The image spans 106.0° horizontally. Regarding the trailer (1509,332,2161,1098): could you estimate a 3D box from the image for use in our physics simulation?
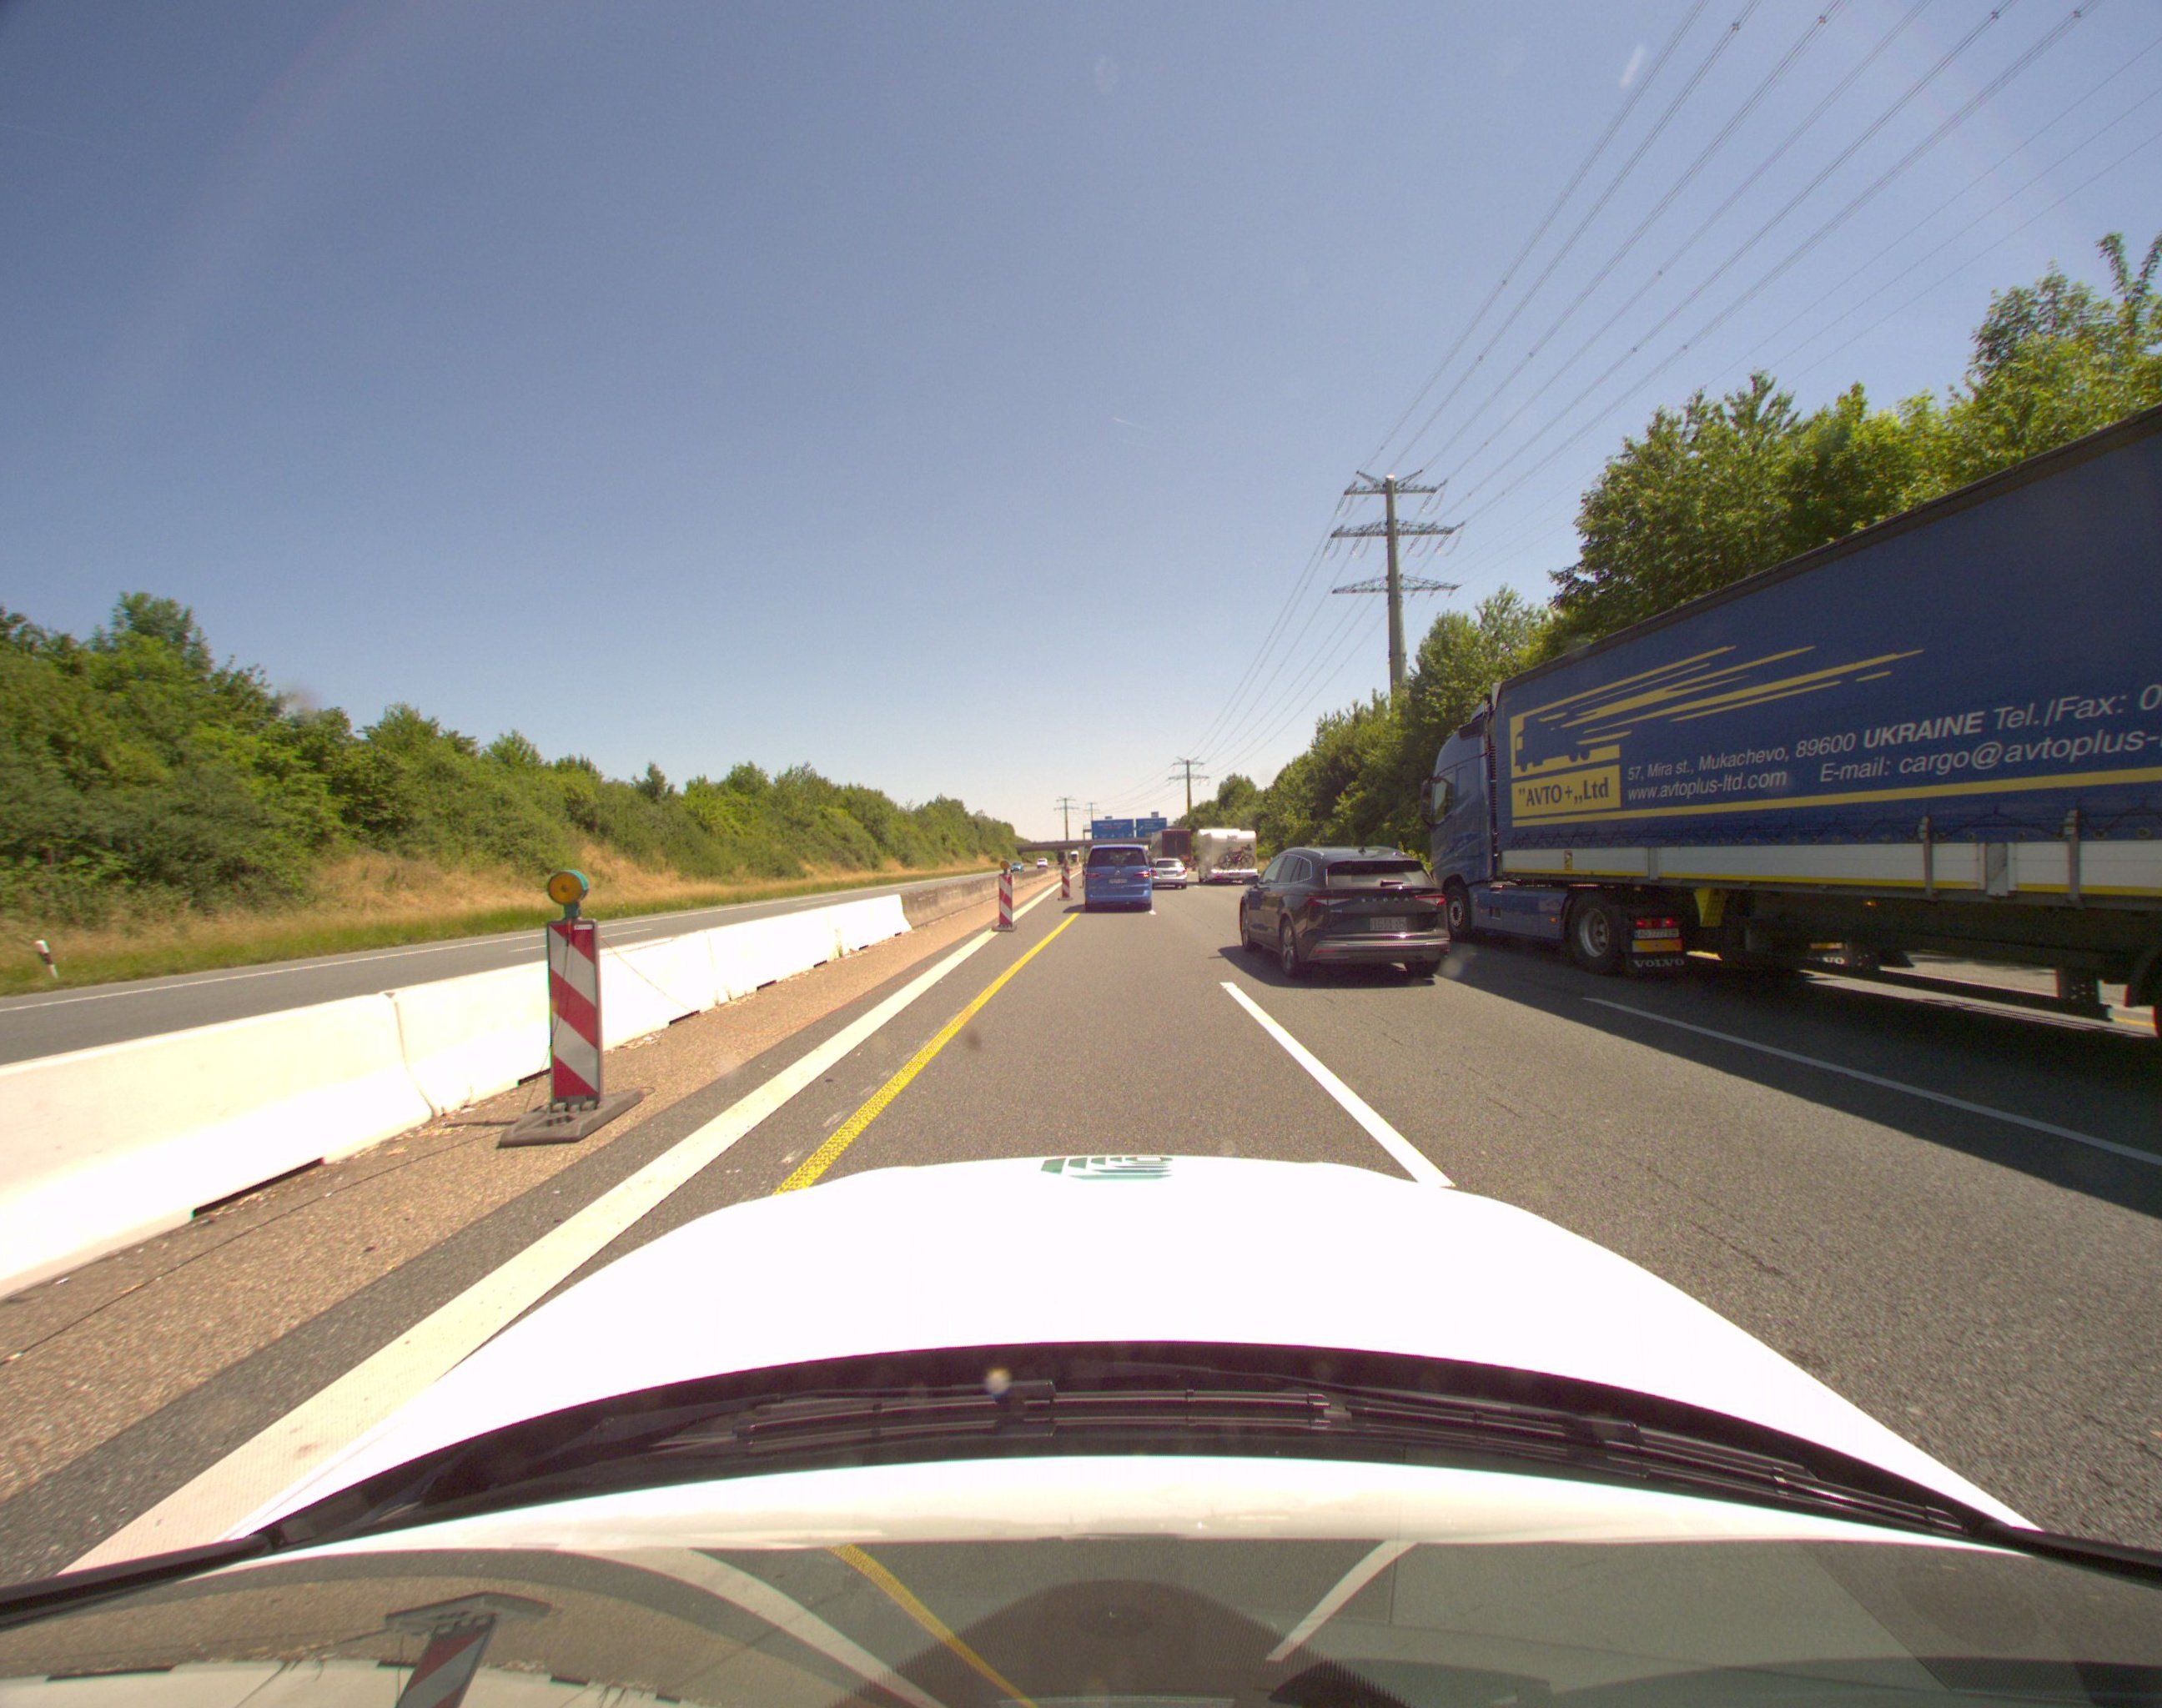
[{"bbox_3d":[7.411,-0.775,5.198,2.757,4.264,12.879,0,0,1],"label":"trailer"}]

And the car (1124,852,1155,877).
[{"bbox_3d":[4.108,0.735,57.468,1.868,1.671,4.359,0,0,0],"label":"car"}]

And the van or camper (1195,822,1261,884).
[{"bbox_3d":[7.847,-0.032,44.268,2.360,3.043,7.634,0,0,1],"label":"van or camper"}]

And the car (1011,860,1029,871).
[{"bbox_3d":[-8.609,1.624,115.901,1.986,1.398,4.003,-3,0,2],"label":"car"}]

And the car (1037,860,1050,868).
[{"bbox_3d":[-7.310,1.864,158.389,1.986,1.398,4.003,-3,0,2],"label":"car"}]

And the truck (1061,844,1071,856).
[{"bbox_3d":[-4.732,-1.272,262.298,2.711,3.919,6.782,0,0,3],"label":"truck"}]

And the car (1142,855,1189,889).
[{"bbox_3d":[3.957,0.812,38.656,1.765,1.517,4.359,0,0,0],"label":"car"}]

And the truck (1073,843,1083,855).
[{"bbox_3d":[-0.982,-1.597,262.341,2.711,3.919,6.782,0,0,3],"label":"truck"}]

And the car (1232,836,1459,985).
[{"bbox_3d":[3.350,0.641,11.278,1.695,1.655,4.428,0,0,0],"label":"car"}]

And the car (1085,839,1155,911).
[{"bbox_3d":[1.061,0.582,24.173,1.868,1.912,4.359,0,0,0],"label":"car"}]

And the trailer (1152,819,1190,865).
[{"bbox_3d":[8.554,-1.033,78.774,2.772,4.047,13.119,0,0,2],"label":"trailer"}]

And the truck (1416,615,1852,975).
[{"bbox_3d":[7.543,-0.671,12.228,2.775,4.144,5.637,0,0,1],"label":"truck"}]
